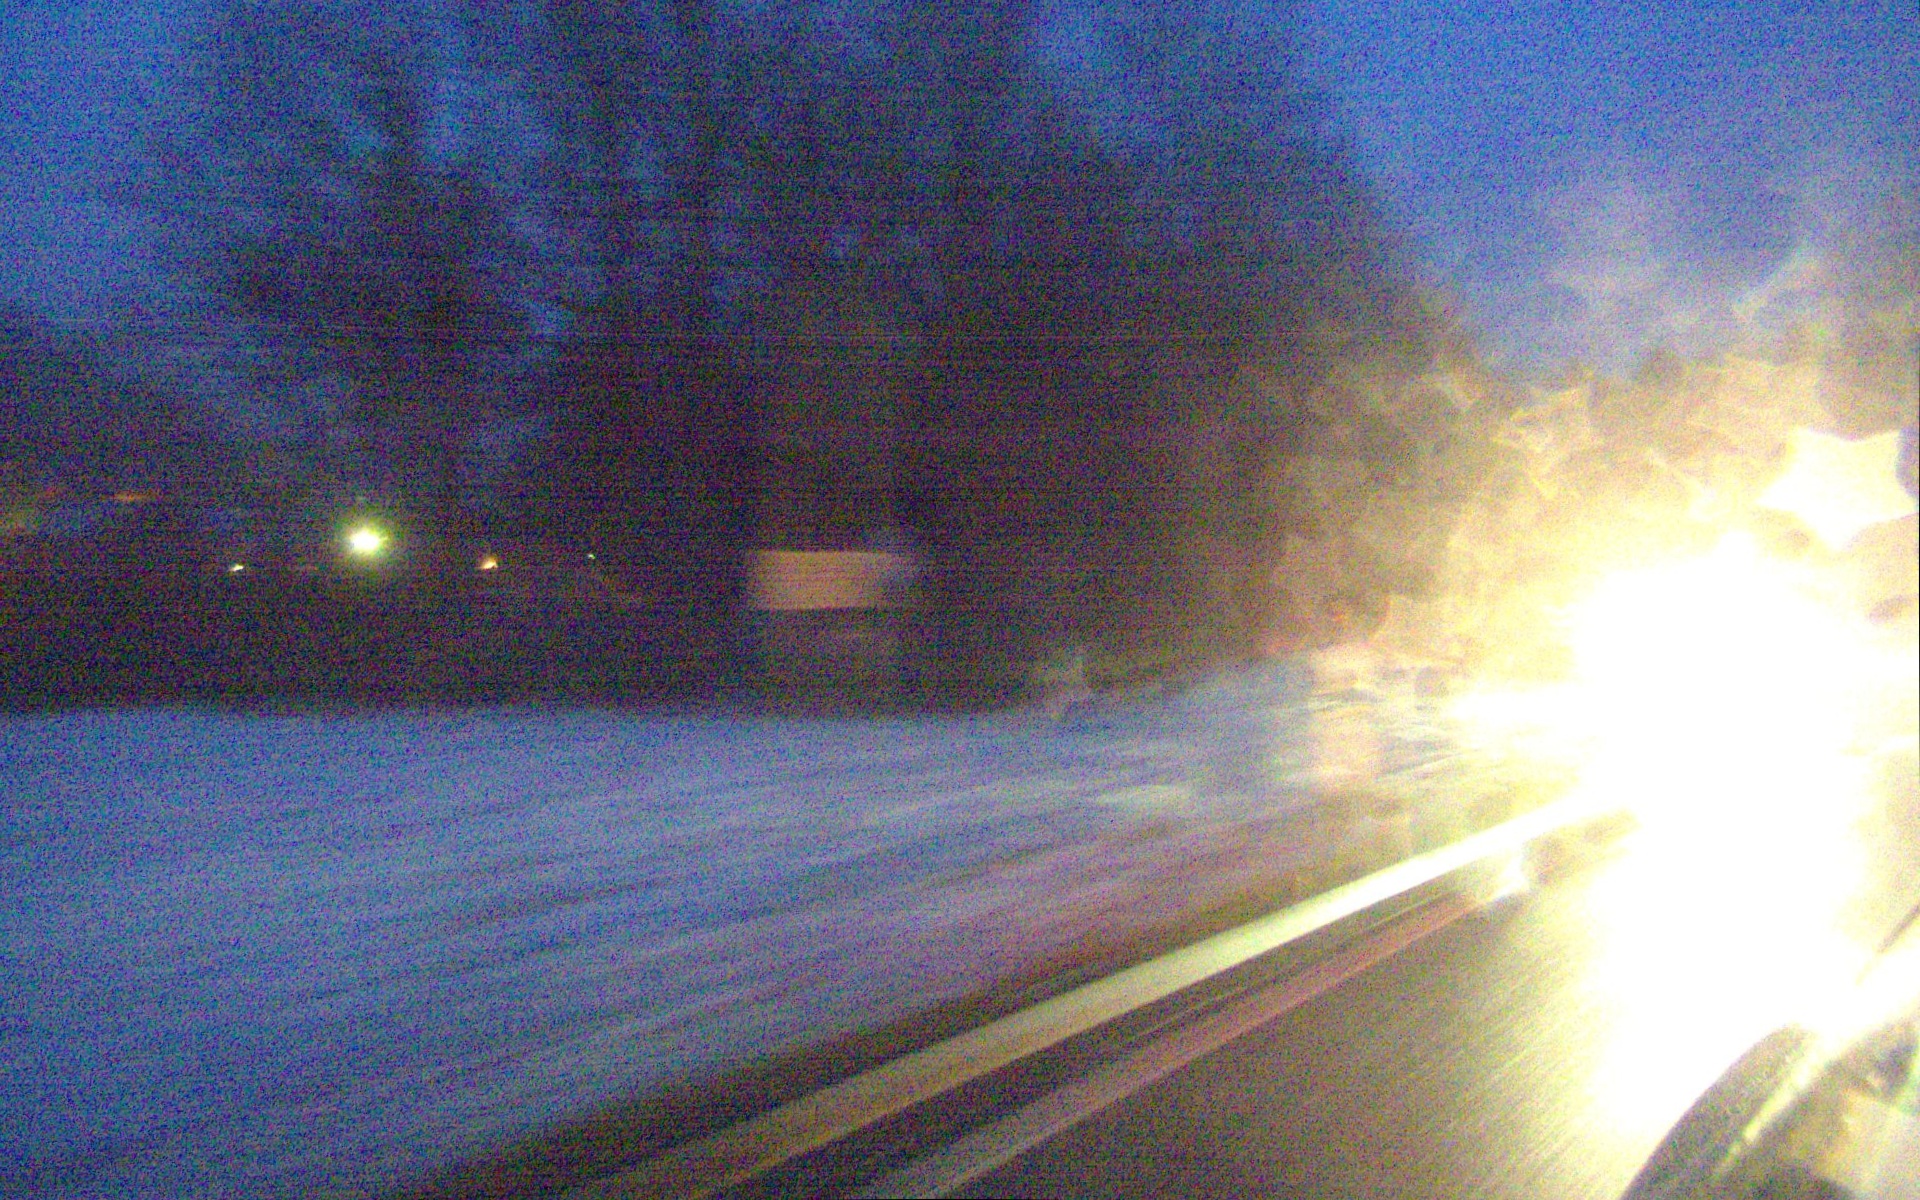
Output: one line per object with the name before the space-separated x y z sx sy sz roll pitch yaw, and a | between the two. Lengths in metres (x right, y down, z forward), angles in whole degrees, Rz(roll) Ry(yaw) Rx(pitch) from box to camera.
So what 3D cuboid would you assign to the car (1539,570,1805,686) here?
car | 12.108 0.401 17.685 1.929 1.712 4.761 -2 0 10
